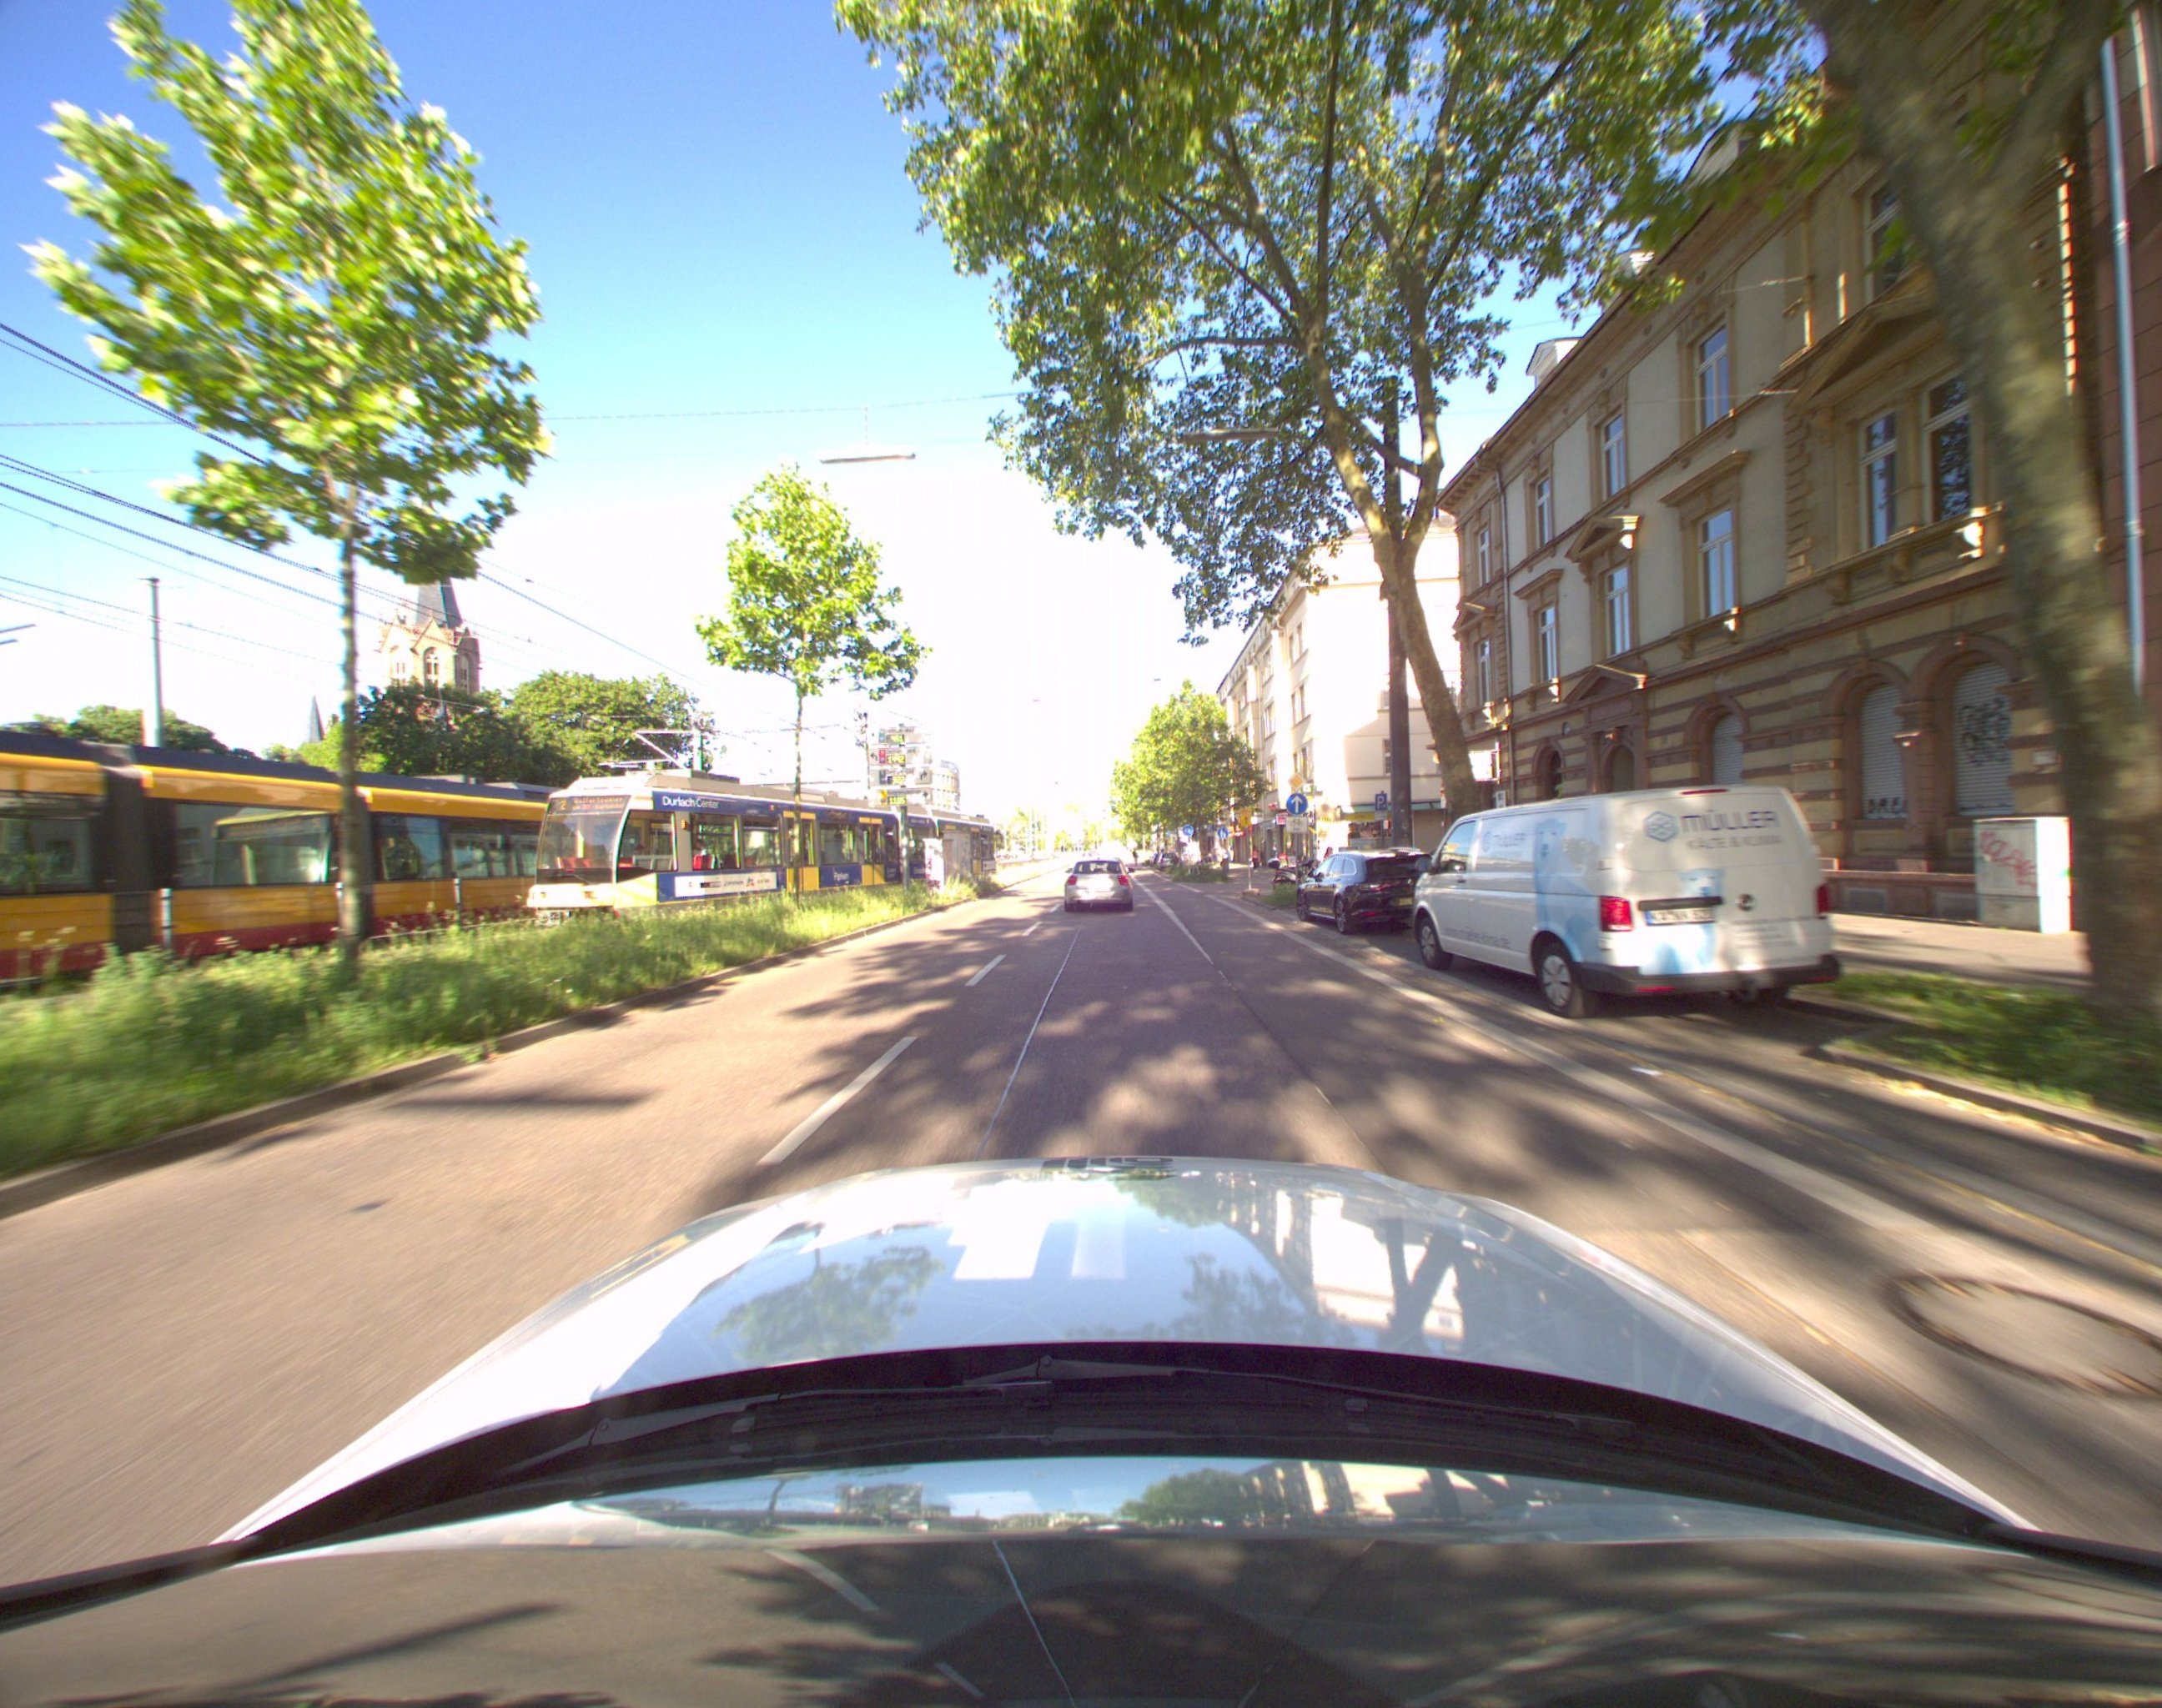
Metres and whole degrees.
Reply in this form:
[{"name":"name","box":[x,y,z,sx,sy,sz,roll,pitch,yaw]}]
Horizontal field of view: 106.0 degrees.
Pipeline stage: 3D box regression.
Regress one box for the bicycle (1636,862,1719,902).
[{"name":"bicycle","box":[12.522,0.569,17.152,0.546,0.773,1.663,-3,0,2]}]

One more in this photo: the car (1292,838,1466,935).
[{"name":"car","box":[5.447,0.536,15.570,1.810,1.515,4.712,-2,0,3]}]

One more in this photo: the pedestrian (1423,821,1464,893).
[{"name":"pedestrian","box":[9.350,0.068,21.047,0.641,1.827,0.895,0,0,-2]}]

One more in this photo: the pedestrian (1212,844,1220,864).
[{"name":"pedestrian","box":[11.995,0.020,72.414,0.555,1.711,0.770,-2,0,2]}]

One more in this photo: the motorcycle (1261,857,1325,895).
[{"name":"motorcycle","box":[6.854,0.707,26.377,1.943,1.231,0.515,0,0,-2]}]

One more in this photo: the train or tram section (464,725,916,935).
[{"name":"train or tram section","box":[-8.692,-0.424,22.014,2.909,3.812,14.319,0,0,12]}]

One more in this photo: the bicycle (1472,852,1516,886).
[{"name":"bicycle","box":[12.455,0.440,24.598,0.413,0.997,1.883,-1,0,2]}]

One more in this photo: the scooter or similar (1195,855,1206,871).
[{"name":"scooter or similar","box":[8.910,0.663,60.807,0.376,1.196,1.583,-2,0,22]}]

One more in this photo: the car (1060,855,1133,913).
[{"name":"car","box":[0.456,0.752,22.358,1.791,1.415,4.002,-2,0,2]}]

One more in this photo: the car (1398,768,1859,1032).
[{"name":"car","box":[5.119,0.354,8.615,1.849,2.014,4.726,0,0,2]}]

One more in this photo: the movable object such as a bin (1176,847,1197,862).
[{"name":"movable object such as a bin","box":[13.505,0.079,104.263,1.941,1.843,3.476,-2,1,-4]}]

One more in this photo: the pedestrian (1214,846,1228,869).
[{"name":"pedestrian","box":[10.484,0.251,60.887,0.856,1.704,0.916,-2,0,0]}]

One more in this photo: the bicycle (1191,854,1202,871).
[{"name":"bicycle","box":[8.352,0.635,58.917,0.391,1.215,1.901,-3,-1,-2]}]

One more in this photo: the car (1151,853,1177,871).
[{"name":"car","box":[7.633,0.740,75.020,2.030,1.509,4.596,-2,0,2]}]

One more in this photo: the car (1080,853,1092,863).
[{"name":"car","box":[0.805,0.576,123.282,1.721,1.470,4.409,-1,0,0]}]

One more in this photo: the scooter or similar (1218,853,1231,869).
[{"name":"scooter or similar","box":[10.540,0.500,59.840,0.742,1.171,0.849,-2,0,-1]}]

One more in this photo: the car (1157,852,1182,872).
[{"name":"car","box":[7.285,0.613,67.432,1.688,1.502,3.803,-4,0,2]}]

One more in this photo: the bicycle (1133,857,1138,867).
[{"name":"bicycle","box":[6.088,0.851,90.294,0.497,1.088,1.998,0,0,2]}]

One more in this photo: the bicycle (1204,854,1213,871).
[{"name":"bicycle","box":[9.353,0.596,59.526,0.382,1.207,1.881,-2,0,17]}]

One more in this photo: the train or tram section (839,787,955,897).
[{"name":"train or tram section","box":[-6.880,-0.435,30.965,2.936,3.897,3.877,0,0,11]}]

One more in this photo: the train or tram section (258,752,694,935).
[{"name":"train or tram section","box":[-14.243,-0.227,21.217,2.952,3.483,11.284,0,0,0]}]

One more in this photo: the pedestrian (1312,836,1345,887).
[{"name":"pedestrian","box":[9.987,0.304,32.909,1.083,2.014,1.047,0,0,3]}]

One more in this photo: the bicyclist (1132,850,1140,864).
[{"name":"bicyclist","box":[6.100,0.353,90.319,0.782,1.531,0.895,0,0,2]}]

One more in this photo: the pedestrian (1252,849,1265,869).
[{"name":"pedestrian","box":[12.970,0.364,59.584,0.782,1.369,0.857,-2,0,2]}]

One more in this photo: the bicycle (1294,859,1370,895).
[{"name":"bicycle","box":[7.862,0.718,25.551,2.213,1.093,0.456,0,0,3]}]

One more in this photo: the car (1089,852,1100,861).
[{"name":"car","box":[2.199,0.383,131.426,1.638,1.421,4.002,-1,0,2]}]

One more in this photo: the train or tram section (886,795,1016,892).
[{"name":"train or tram section","box":[-5.711,-0.424,38.293,2.936,3.897,10.827,0,0,8]}]

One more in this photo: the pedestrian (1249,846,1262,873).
[{"name":"pedestrian","box":[10.811,0.352,50.499,0.680,1.621,0.562,-2,0,-1]}]

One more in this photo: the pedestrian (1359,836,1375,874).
[{"name":"pedestrian","box":[14.365,0.063,40.885,0.551,1.903,0.586,0,0,-9]}]

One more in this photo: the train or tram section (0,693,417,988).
[{"name":"train or tram section","box":[-14.197,-0.160,12.531,2.946,3.483,6.059,0,0,0]}]
